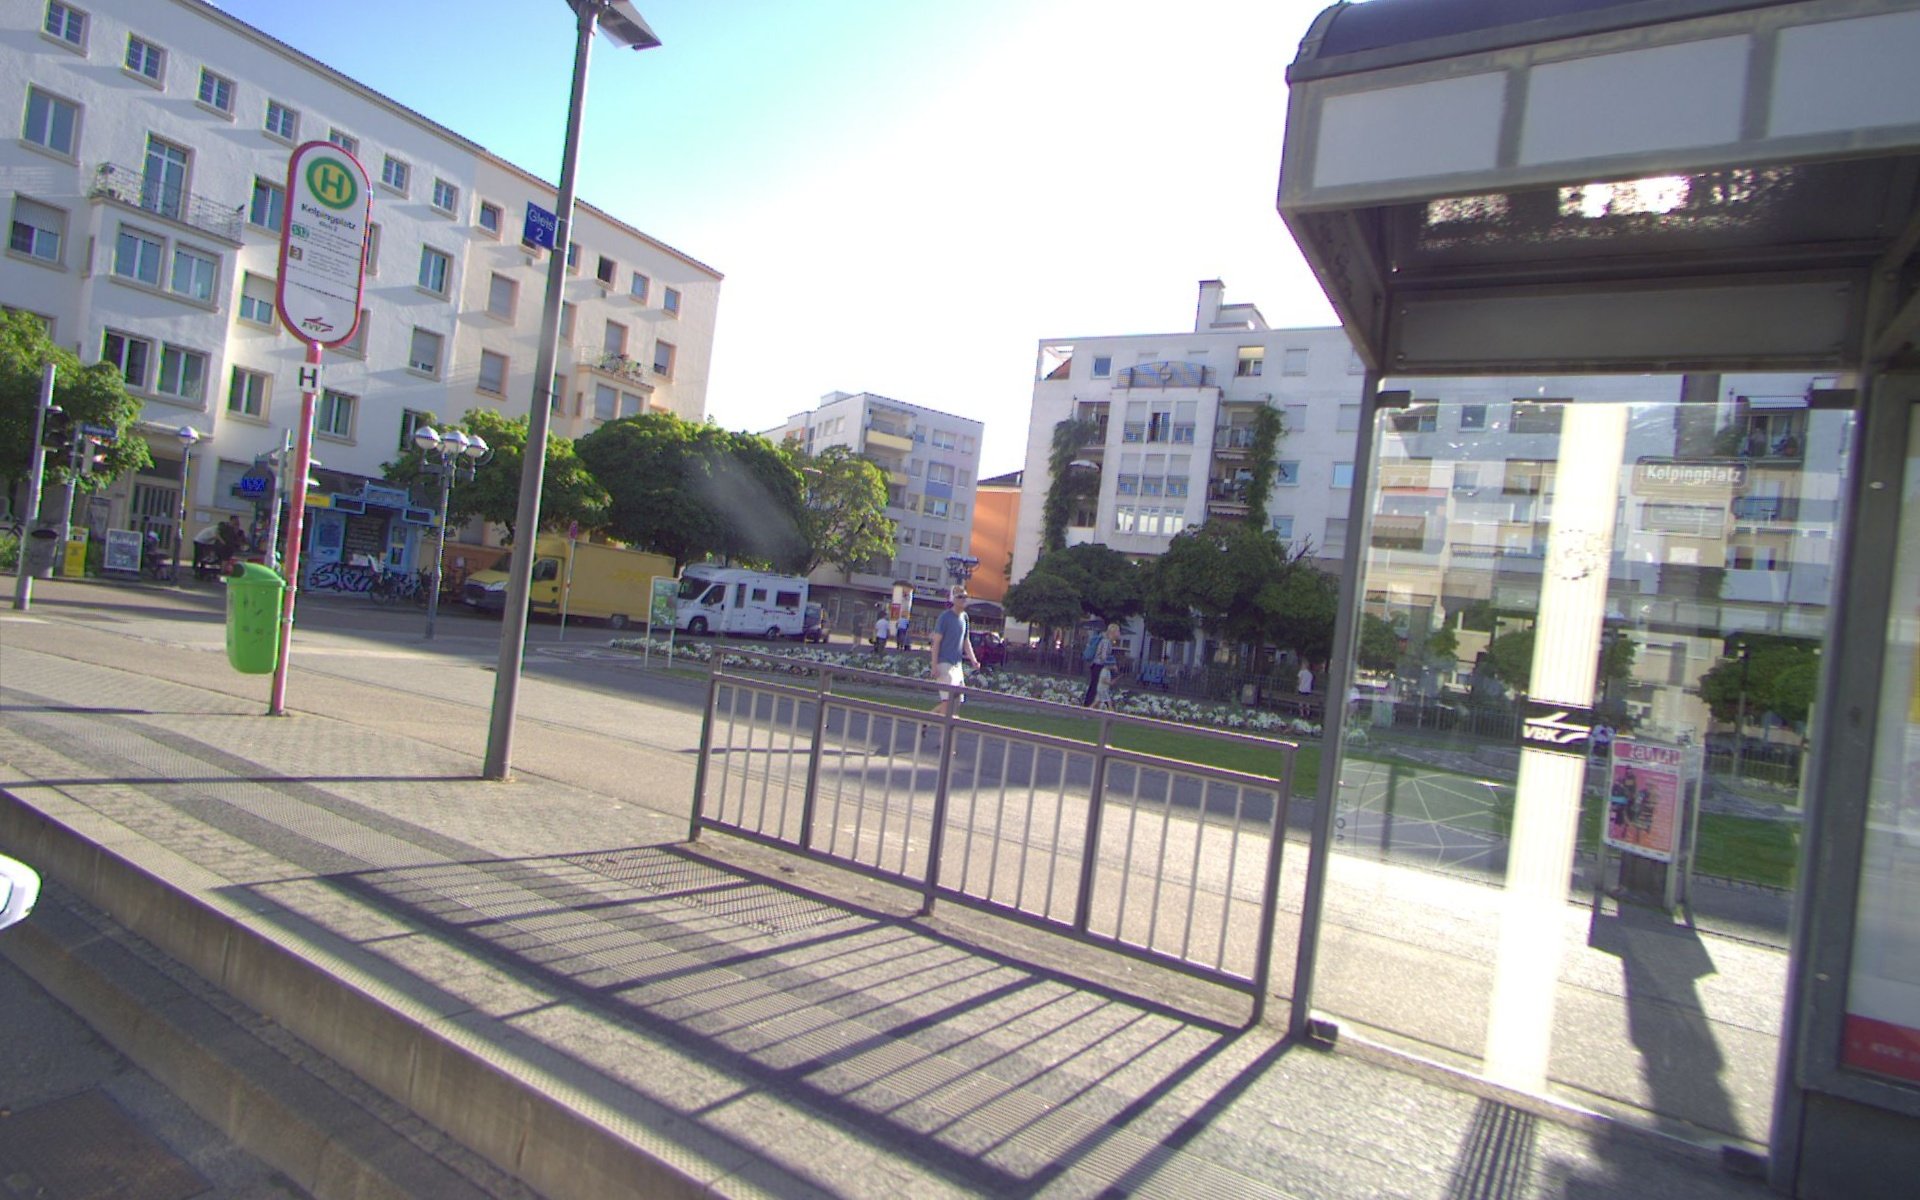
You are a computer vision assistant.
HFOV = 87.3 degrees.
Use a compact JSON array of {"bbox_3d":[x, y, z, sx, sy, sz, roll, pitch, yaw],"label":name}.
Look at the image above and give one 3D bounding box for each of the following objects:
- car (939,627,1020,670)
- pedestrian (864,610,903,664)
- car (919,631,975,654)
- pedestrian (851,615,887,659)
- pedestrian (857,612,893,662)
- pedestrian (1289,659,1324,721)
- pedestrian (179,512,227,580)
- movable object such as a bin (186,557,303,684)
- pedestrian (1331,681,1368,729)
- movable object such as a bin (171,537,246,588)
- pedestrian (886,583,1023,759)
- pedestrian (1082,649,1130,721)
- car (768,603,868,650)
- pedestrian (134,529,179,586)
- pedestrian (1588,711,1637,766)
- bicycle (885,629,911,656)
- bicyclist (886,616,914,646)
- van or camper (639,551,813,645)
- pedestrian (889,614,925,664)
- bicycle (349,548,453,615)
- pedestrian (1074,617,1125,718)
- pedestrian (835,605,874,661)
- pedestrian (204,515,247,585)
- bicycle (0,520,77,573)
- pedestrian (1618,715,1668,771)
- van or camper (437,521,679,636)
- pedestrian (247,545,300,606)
[{"bbox_3d":[0.897,2.117,43.114,1.964,1.503,4.001,7,-2,23],"label":"car"},{"bbox_3d":[-2.440,1.186,32.323,0.651,1.604,0.902,7,-1,35],"label":"pedestrian"},{"bbox_3d":[-0.900,3.070,71.960,1.798,1.165,3.986,6,-2,38],"label":"car"},{"bbox_3d":[-2.968,1.209,32.798,0.595,1.295,0.902,6,-1,35],"label":"pedestrian"},{"bbox_3d":[-2.931,1.268,34.656,0.651,1.604,0.902,6,-1,35],"label":"pedestrian"},{"bbox_3d":[10.456,2.696,30.359,0.661,1.745,1.028,7,0,11],"label":"pedestrian"},{"bbox_3d":[-22.124,-1.581,29.417,0.668,1.861,0.785,7,0,35],"label":"pedestrian"},{"bbox_3d":[-4.912,0.143,6.907,0.481,0.795,0.449,6,-1,34],"label":"movable object such as a bin"},{"bbox_3d":[11.639,3.127,30.051,0.718,1.287,1.042,7,-1,11],"label":"pedestrian"},{"bbox_3d":[-20.584,-1.017,27.553,1.197,1.166,1.200,6,-1,32],"label":"movable object such as a bin"},{"bbox_3d":[-0.055,0.830,11.979,1.110,1.900,0.983,6,-1,30],"label":"pedestrian"},{"bbox_3d":[2.565,1.492,17.651,0.550,1.182,0.469,5,-2,40],"label":"pedestrian"},{"bbox_3d":[-6.310,1.202,45.115,1.974,1.528,3.982,5,-3,43],"label":"car"},{"bbox_3d":[-20.471,-1.078,25.631,0.736,1.331,0.622,7,-1,-35],"label":"pedestrian"},{"bbox_3d":[17.200,3.649,26.530,0.718,1.287,0.745,7,0,11],"label":"pedestrian"},{"bbox_3d":[-2.810,1.901,45.532,0.709,1.073,2.320,8,-3,-12],"label":"bicycle"},{"bbox_3d":[-2.720,1.408,45.510,0.939,1.239,0.932,8,-2,-12],"label":"bicyclist"},{"bbox_3d":[-8.918,0.016,39.112,2.340,2.873,6.411,6,-2,35],"label":"van or camper"},{"bbox_3d":[-1.820,1.349,34.647,0.651,1.604,0.902,7,-1,35],"label":"pedestrian"},{"bbox_3d":[-15.945,-0.510,28.766,0.714,1.548,2.391,7,-3,31],"label":"bicycle"},{"bbox_3d":[2.565,1.244,18.497,0.520,1.765,0.557,6,-2,42],"label":"pedestrian"},{"bbox_3d":[-3.486,1.089,33.203,0.684,1.705,0.902,7,-1,35],"label":"pedestrian"},{"bbox_3d":[-20.757,-1.402,28.434,0.649,1.861,0.653,7,0,35],"label":"pedestrian"},{"bbox_3d":[-24.129,-1.387,26.202,0.296,1.133,1.566,6,-3,42],"label":"bicycle"},{"bbox_3d":[17.898,3.737,26.388,0.718,1.287,0.745,7,0,11],"label":"pedestrian"},{"bbox_3d":[-12.912,-0.579,33.016,2.331,2.780,7.132,8,-1,32],"label":"van or camper"},{"bbox_3d":[-17.889,-0.641,26.216,0.742,1.427,0.731,10,1,32],"label":"pedestrian"}]
